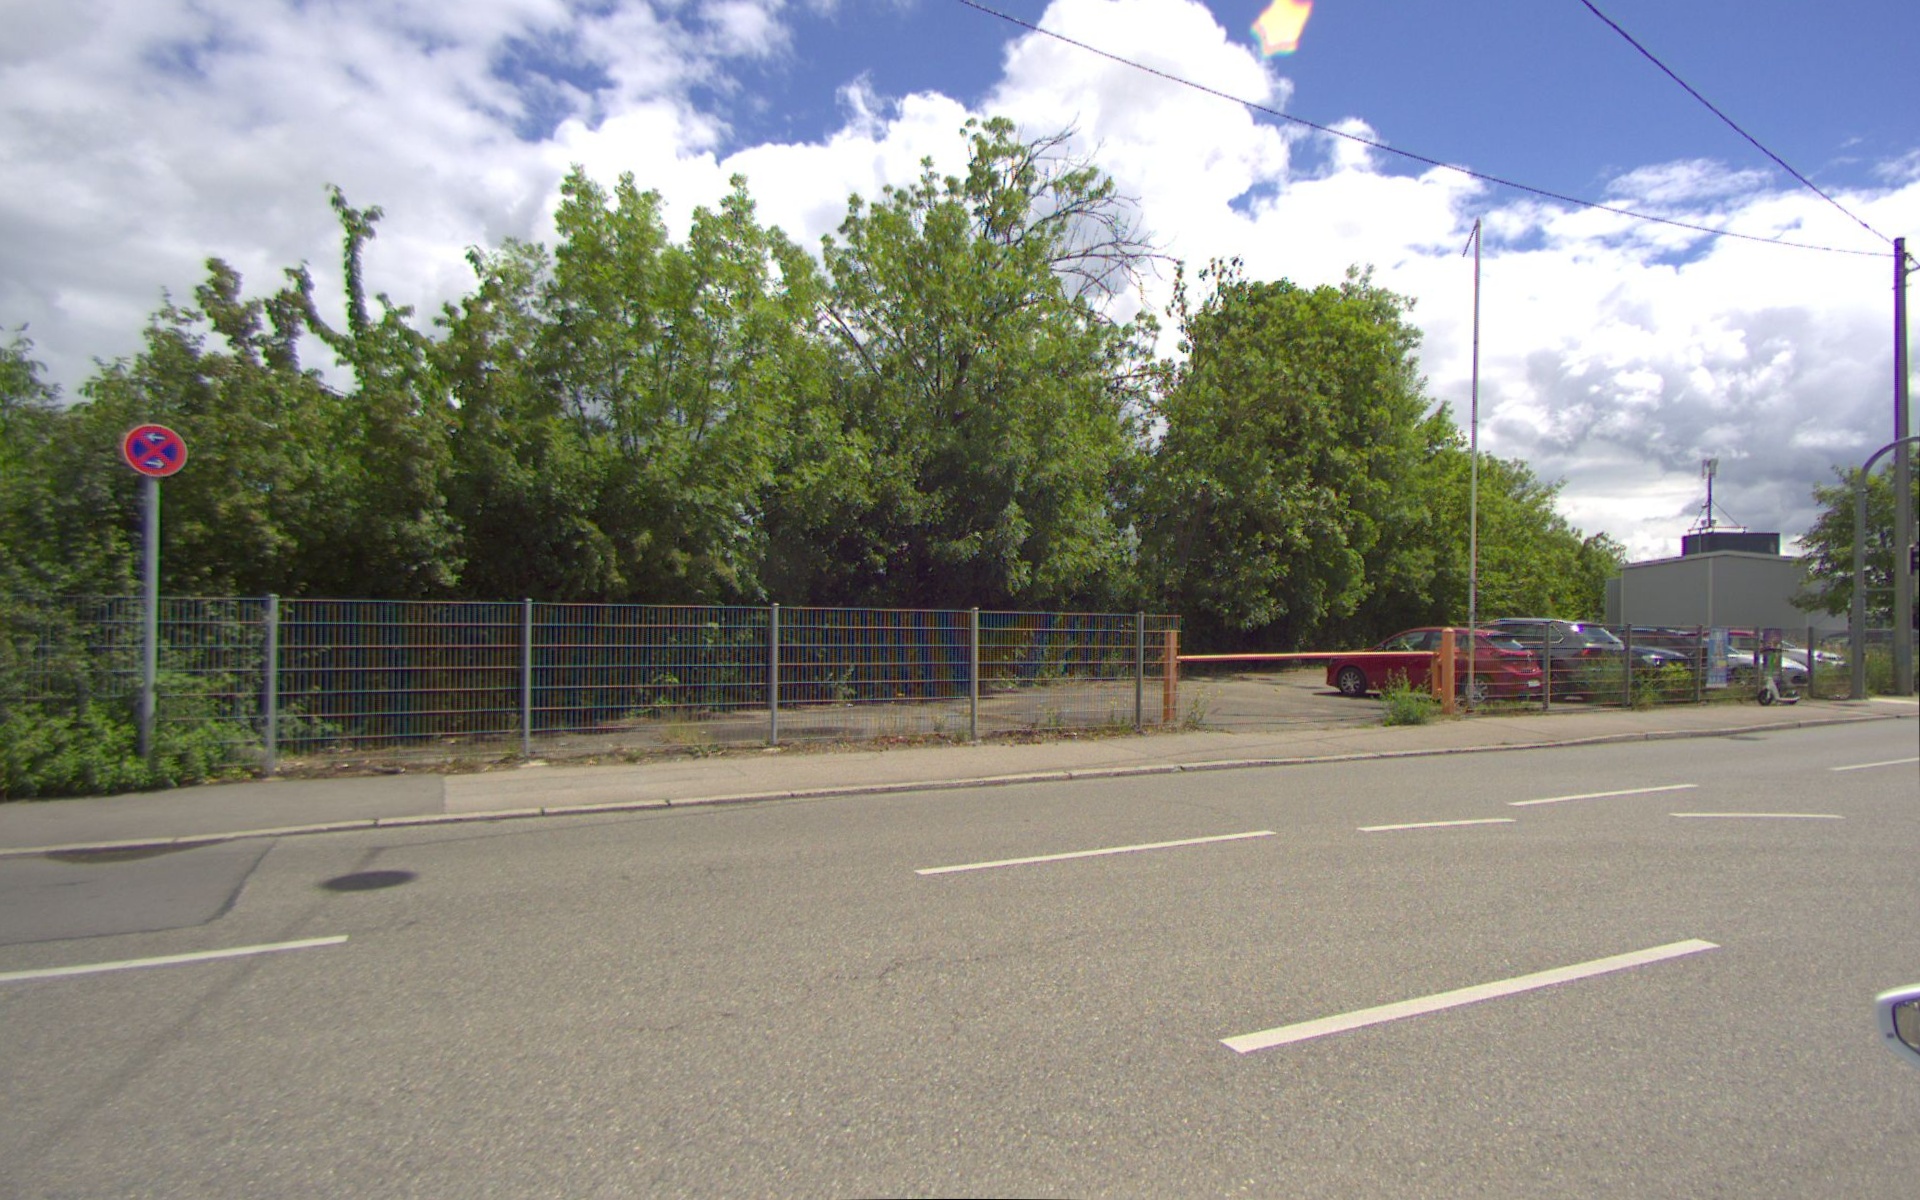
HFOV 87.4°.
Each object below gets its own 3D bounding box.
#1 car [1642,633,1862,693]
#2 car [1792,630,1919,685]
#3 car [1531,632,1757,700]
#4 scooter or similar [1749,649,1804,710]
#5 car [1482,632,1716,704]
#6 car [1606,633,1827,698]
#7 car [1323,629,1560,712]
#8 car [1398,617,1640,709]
[{"bbox_3d":[21.421,1.646,27.351,2.000,1.437,4.293,2,-2,-28],"label":"car"},{"bbox_3d":[36.169,2.265,40.058,2.122,2.040,4.245,3,-2,-37],"label":"car"},{"bbox_3d":[16.372,1.537,24.236,1.979,1.437,4.079,2,-2,-33],"label":"car"},{"bbox_3d":[16.846,1.630,20.720,1.111,1.227,0.422,1,0,-26],"label":"scooter or similar"},{"bbox_3d":[14.411,1.473,22.871,1.977,1.437,4.082,2,-2,-31],"label":"car"},{"bbox_3d":[19.038,1.601,25.462,1.893,1.437,4.084,2,-2,-29],"label":"car"},{"bbox_3d":[9.432,1.321,19.886,1.886,1.437,3.822,2,-2,-38],"label":"car"},{"bbox_3d":[11.753,1.259,21.362,1.980,1.757,4.077,2,-2,-34],"label":"car"}]
